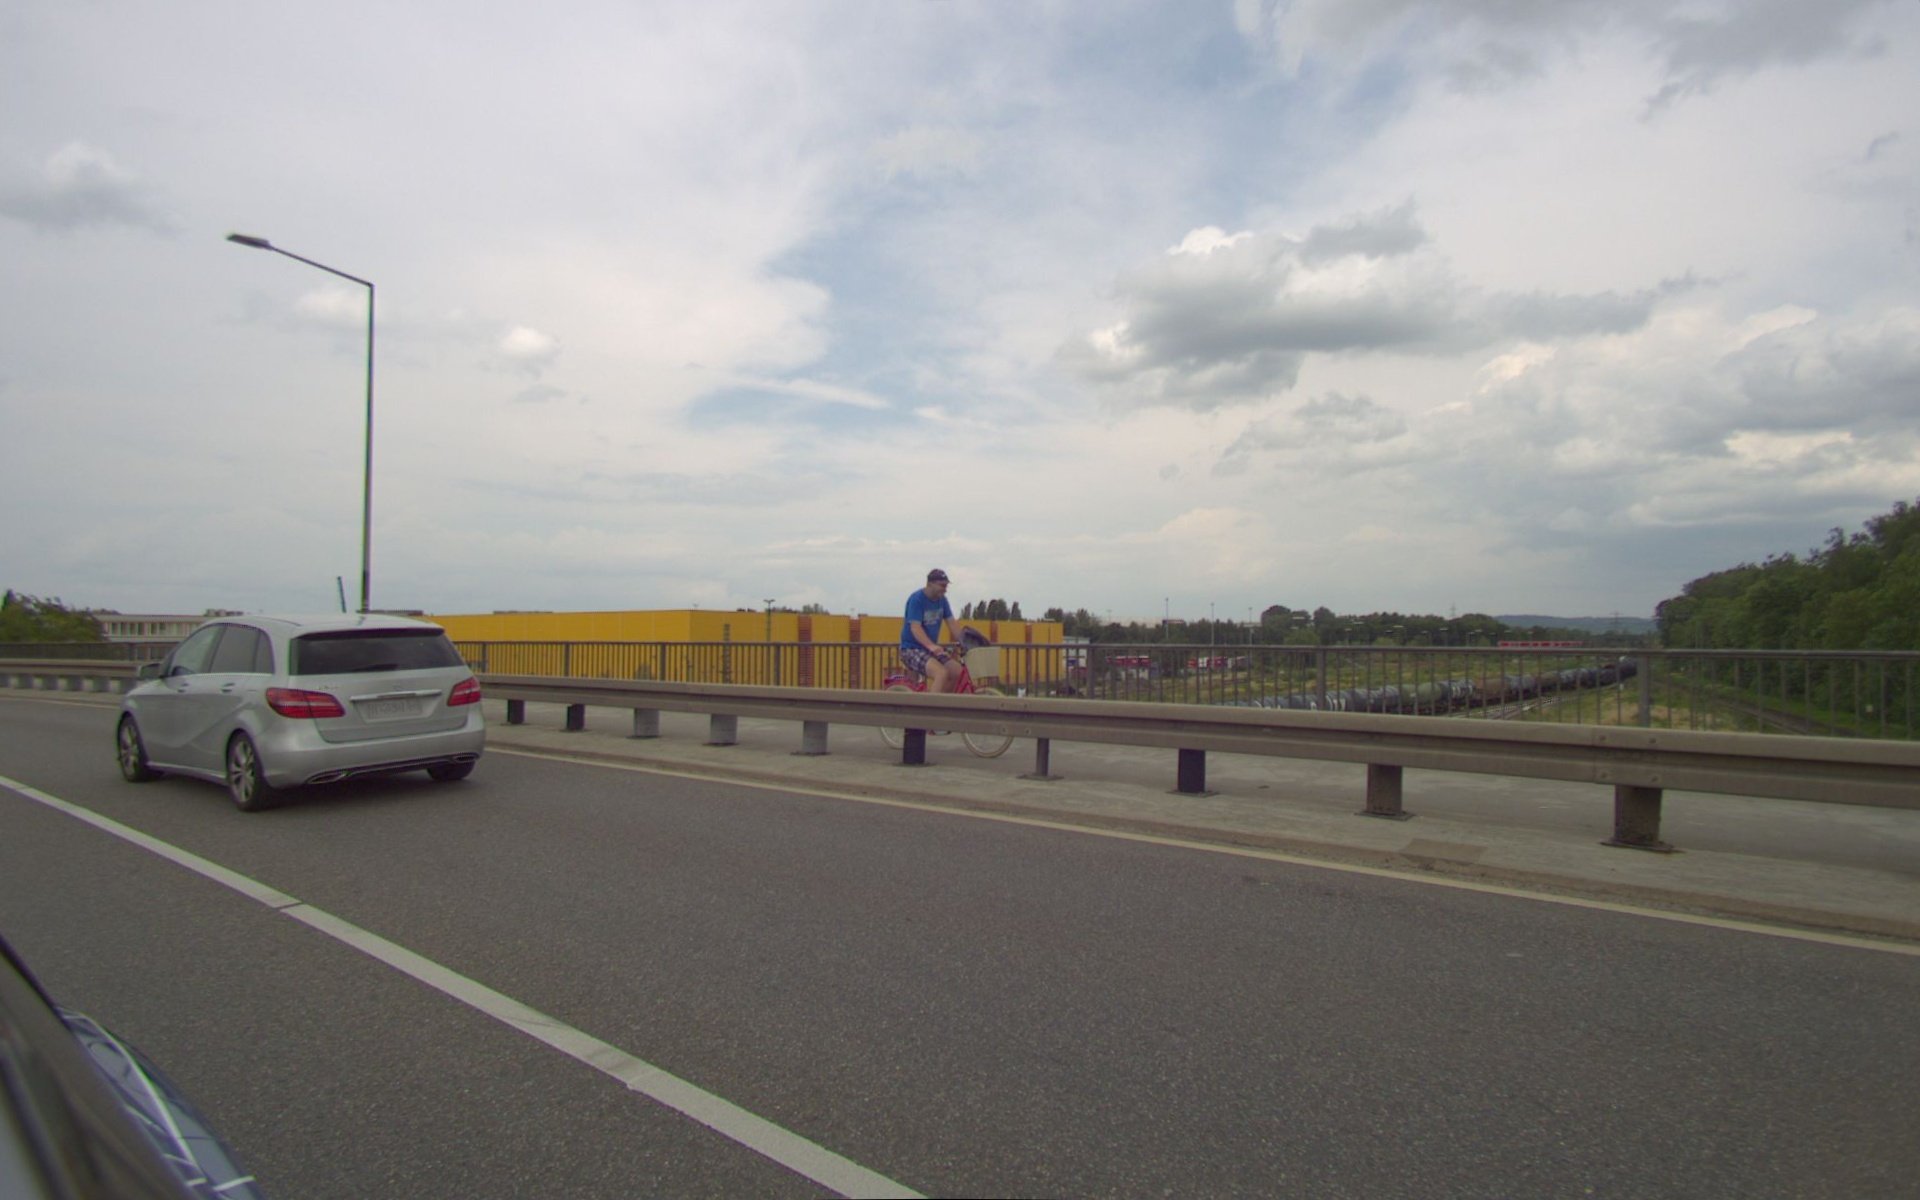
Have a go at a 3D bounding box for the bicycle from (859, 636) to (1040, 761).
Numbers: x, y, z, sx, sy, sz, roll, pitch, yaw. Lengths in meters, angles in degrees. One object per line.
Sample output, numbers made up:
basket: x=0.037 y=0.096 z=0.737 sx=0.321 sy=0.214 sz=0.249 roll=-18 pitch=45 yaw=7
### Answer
bicycle: x=-0.135 y=0.878 z=9.520 sx=1.808 sy=1.053 sz=0.487 roll=-1 pitch=-1 yaw=40

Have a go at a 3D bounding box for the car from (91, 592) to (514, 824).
car: x=-6.088 y=0.799 z=9.180 sx=4.390 sy=1.632 sz=1.801 roll=-1 pitch=0 yaw=37

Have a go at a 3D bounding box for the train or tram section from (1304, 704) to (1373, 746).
train or tram section: x=40.483 y=13.222 z=107.892 sx=2.083 sy=4.127 sz=12.578 roll=-1 pitch=-5 yaw=44

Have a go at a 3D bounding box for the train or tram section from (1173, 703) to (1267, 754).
train or tram section: x=23.192 y=11.284 z=89.714 sx=2.100 sy=4.127 sz=12.578 roll=-1 pitch=-5 yaw=44

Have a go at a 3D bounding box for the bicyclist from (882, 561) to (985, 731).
bicyclist: x=-0.256 y=0.424 z=9.706 sx=0.756 sy=1.551 sz=0.604 roll=-1 pitch=-1 yaw=39

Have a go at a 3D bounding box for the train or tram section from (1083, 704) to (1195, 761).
train or tram section: x=14.467 y=10.437 z=80.602 sx=2.001 sy=4.127 sz=12.578 roll=-1 pitch=-5 yaw=44
